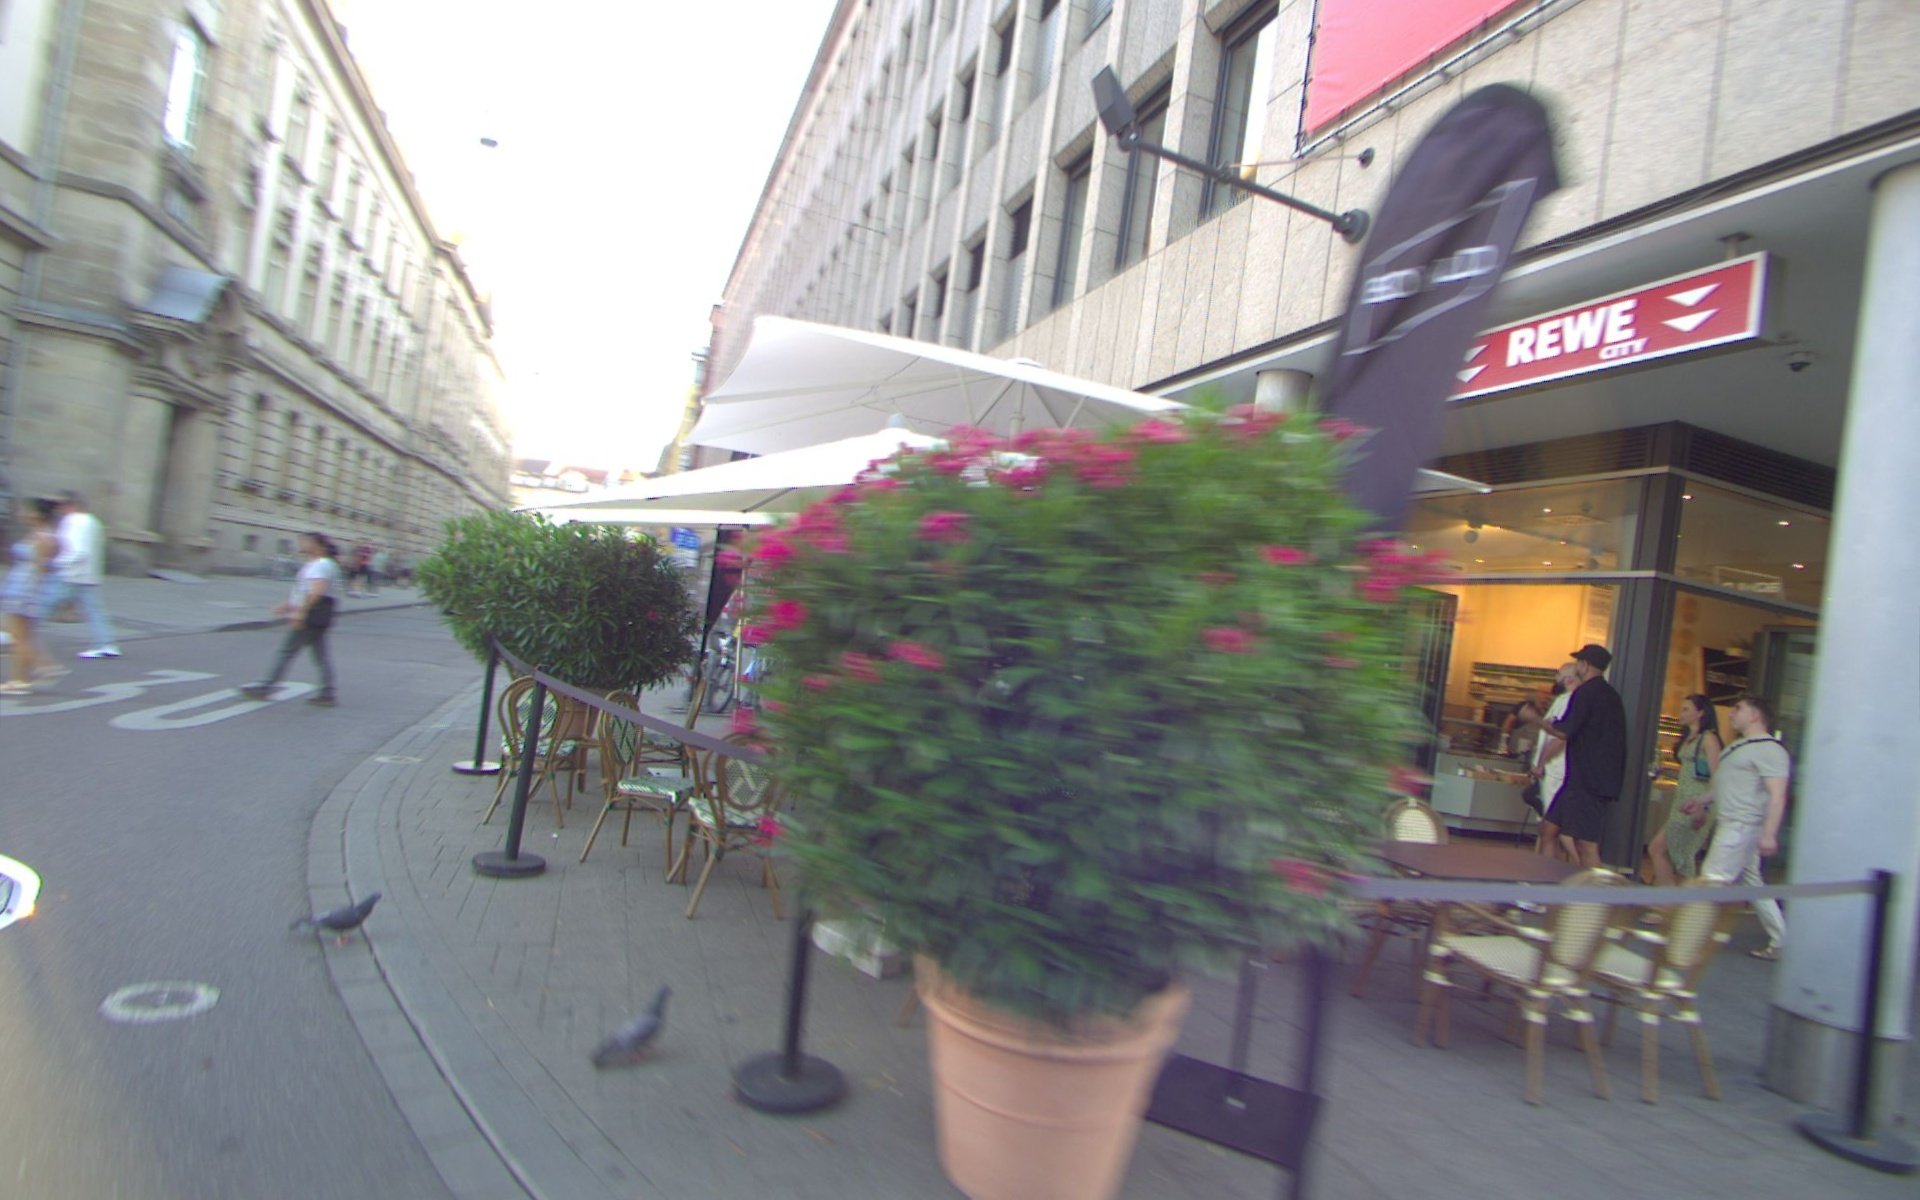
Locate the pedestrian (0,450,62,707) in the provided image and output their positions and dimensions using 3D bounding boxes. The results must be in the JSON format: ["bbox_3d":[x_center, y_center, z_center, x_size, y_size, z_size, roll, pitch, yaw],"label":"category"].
[{"bbox_3d":[-7.392,-0.190,7.285,0.862,1.860,0.803,8,-2,-20],"label":"pedestrian"}]

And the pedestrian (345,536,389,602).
[{"bbox_3d":[-17.838,-0.919,30.303,0.691,1.831,0.970,11,-2,-22],"label":"pedestrian"}]

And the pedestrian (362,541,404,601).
[{"bbox_3d":[-18.528,-0.921,32.341,0.780,1.770,0.718,11,-2,-22],"label":"pedestrian"}]

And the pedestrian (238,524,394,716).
[{"bbox_3d":[-6.139,0.199,9.644,0.857,1.665,0.732,7,-2,-9],"label":"pedestrian"}]

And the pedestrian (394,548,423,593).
[{"bbox_3d":[-23.571,-1.262,43.017,0.712,1.770,0.665,11,-2,-22],"label":"pedestrian"}]

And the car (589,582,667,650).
[{"bbox_3d":[-10.134,0.435,30.510,1.754,1.653,4.070,10,-3,-22],"label":"car"}]

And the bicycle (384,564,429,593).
[{"bbox_3d":[-26.220,-1.012,47.674,1.663,1.052,0.485,11,-2,-21],"label":"bicycle"}]

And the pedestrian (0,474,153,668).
[{"bbox_3d":[-9.492,-0.301,10.772,0.864,1.859,0.862,11,-2,-25],"label":"pedestrian"}]

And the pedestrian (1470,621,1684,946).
[{"bbox_3d":[4.198,1.224,6.880,0.771,2.038,0.686,8,0,-19],"label":"pedestrian"}]

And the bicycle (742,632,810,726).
[{"bbox_3d":[-2.456,1.014,13.303,0.552,1.054,1.679,6,-1,-18],"label":"bicycle"}]

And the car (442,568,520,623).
[{"bbox_3d":[-15.272,-0.151,32.256,1.751,1.425,4.036,8,-2,-20],"label":"car"}]

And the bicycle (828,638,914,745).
[{"bbox_3d":[-1.162,1.120,12.751,0.539,1.131,1.805,6,-1,-20],"label":"bicycle"}]

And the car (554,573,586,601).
[{"bbox_3d":[-26.092,-0.891,67.427,1.776,1.527,3.983,9,-2,-20],"label":"car"}]

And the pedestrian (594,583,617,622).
[{"bbox_3d":[-17.233,0.125,48.964,0.714,1.812,0.822,8,-1,-10],"label":"pedestrian"}]

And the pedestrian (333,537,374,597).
[{"bbox_3d":[-19.065,-1.027,31.633,0.683,1.770,0.718,11,-2,-22],"label":"pedestrian"}]

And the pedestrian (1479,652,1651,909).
[{"bbox_3d":[4.800,1.406,8.015,0.708,1.870,0.663,8,0,-14],"label":"pedestrian"}]

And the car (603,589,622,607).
[{"bbox_3d":[-35.941,-0.232,104.088,1.628,1.539,3.271,10,-3,-20],"label":"car"}]

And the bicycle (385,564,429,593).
[{"bbox_3d":[-26.412,-1.020,48.095,1.663,1.052,0.485,11,-2,-21],"label":"bicycle"}]

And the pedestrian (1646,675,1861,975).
[{"bbox_3d":[5.277,1.474,6.714,0.709,1.808,0.662,8,0,-19],"label":"pedestrian"}]

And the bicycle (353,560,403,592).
[{"bbox_3d":[-24.739,-1.031,42.774,1.663,1.052,0.485,11,-2,-21],"label":"bicycle"}]

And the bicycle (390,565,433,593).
[{"bbox_3d":[-26.873,-1.029,49.292,1.663,1.052,0.485,11,-2,-21],"label":"bicycle"}]

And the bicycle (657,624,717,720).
[{"bbox_3d":[-3.521,0.887,12.888,0.552,1.054,1.679,6,-1,-18],"label":"bicycle"}]

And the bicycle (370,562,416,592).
[{"bbox_3d":[-25.861,-1.043,45.907,1.663,1.052,0.485,11,-2,-21],"label":"bicycle"}]

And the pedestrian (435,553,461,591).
[{"bbox_3d":[-25.577,-1.403,50.288,0.797,1.770,0.806,11,-2,-22],"label":"pedestrian"}]

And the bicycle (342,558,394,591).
[{"bbox_3d":[-24.430,-1.044,41.540,1.663,1.052,0.485,11,-2,-21],"label":"bicycle"}]

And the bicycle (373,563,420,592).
[{"bbox_3d":[-25.956,-1.036,46.356,1.663,1.052,0.485,11,-2,-21],"label":"bicycle"}]

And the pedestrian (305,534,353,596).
[{"bbox_3d":[-18.752,-1.024,29.919,0.790,1.692,0.970,11,-2,-22],"label":"pedestrian"}]

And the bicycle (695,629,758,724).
[{"bbox_3d":[-3.058,0.959,13.077,0.552,1.054,1.679,6,-1,-18],"label":"bicycle"}]

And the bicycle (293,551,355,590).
[{"bbox_3d":[-22.136,-1.024,35.028,1.673,1.052,0.482,11,-3,-37],"label":"bicycle"}]

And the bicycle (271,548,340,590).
[{"bbox_3d":[-21.077,-0.990,32.436,1.660,1.052,0.486,10,-2,-14],"label":"bicycle"}]

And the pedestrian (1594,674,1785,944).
[{"bbox_3d":[5.355,1.516,7.415,0.709,1.808,0.662,8,0,-19],"label":"pedestrian"}]

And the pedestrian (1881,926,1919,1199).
[{"bbox_3d":[3.637,1.165,3.031,0.910,1.739,0.763,8,0,-18],"label":"pedestrian"}]

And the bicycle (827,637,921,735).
[{"bbox_3d":[-1.216,1.150,13.856,0.540,1.131,1.800,6,-1,-28],"label":"bicycle"}]

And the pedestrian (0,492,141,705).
[{"bbox_3d":[-7.562,-0.020,8.276,0.862,1.599,0.803,8,-3,-20],"label":"pedestrian"}]

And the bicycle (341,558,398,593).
[{"bbox_3d":[-22.645,-0.932,38.599,1.663,1.052,0.485,11,-2,-21],"label":"bicycle"}]
